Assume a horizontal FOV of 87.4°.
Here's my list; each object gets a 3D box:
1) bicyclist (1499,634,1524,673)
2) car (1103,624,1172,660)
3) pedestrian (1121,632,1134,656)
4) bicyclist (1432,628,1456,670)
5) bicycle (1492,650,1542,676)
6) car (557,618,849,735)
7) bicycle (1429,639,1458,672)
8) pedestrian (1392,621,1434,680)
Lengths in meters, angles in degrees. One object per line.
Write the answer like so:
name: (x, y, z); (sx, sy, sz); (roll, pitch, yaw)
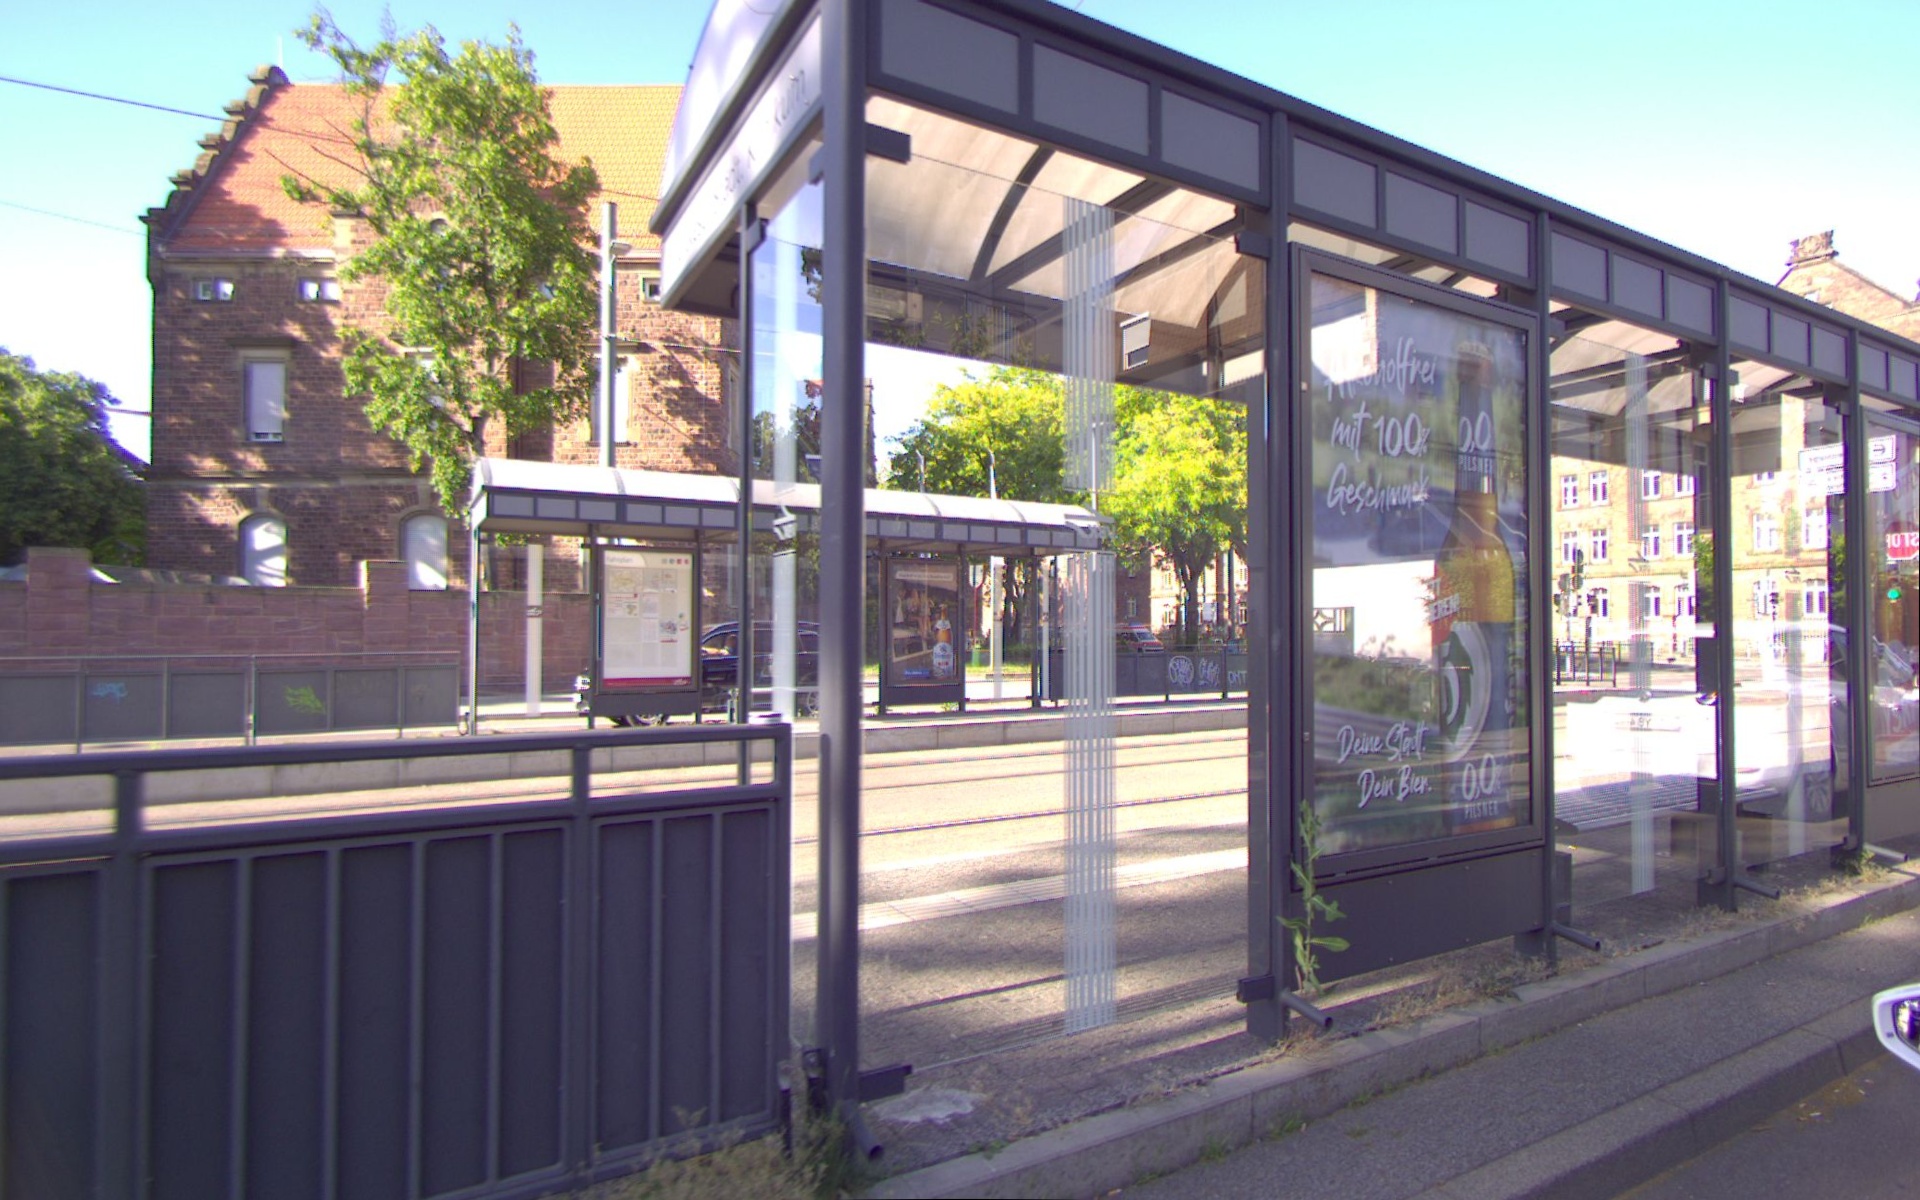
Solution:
bicyclist: (23.722, 2.287, 43.228); (0.792, 1.657, 0.631); (1, -1, -30)
car: (12.918, 3.064, 73.375); (2.234, 2.485, 5.005); (1, -1, -30)
pedestrian: (11.181, 2.940, 66.923); (0.533, 1.619, 0.712); (1, -1, -29)
bicyclist: (16.635, 1.681, 34.543); (0.679, 1.402, 0.532); (0, -1, 34)
bicycle: (23.825, 2.676, 43.016); (0.792, 1.027, 1.727); (1, -1, -29)
car: (-4.183, 1.166, 16.553); (4.308, 1.699, 1.897); (1, -1, -32)
bicycle: (16.612, 1.884, 34.508); (0.682, 1.063, 1.665); (0, -1, 34)
pedestrian: (14.662, 1.629, 32.510); (1.082, 1.885, 0.724); (1, -1, -28)
